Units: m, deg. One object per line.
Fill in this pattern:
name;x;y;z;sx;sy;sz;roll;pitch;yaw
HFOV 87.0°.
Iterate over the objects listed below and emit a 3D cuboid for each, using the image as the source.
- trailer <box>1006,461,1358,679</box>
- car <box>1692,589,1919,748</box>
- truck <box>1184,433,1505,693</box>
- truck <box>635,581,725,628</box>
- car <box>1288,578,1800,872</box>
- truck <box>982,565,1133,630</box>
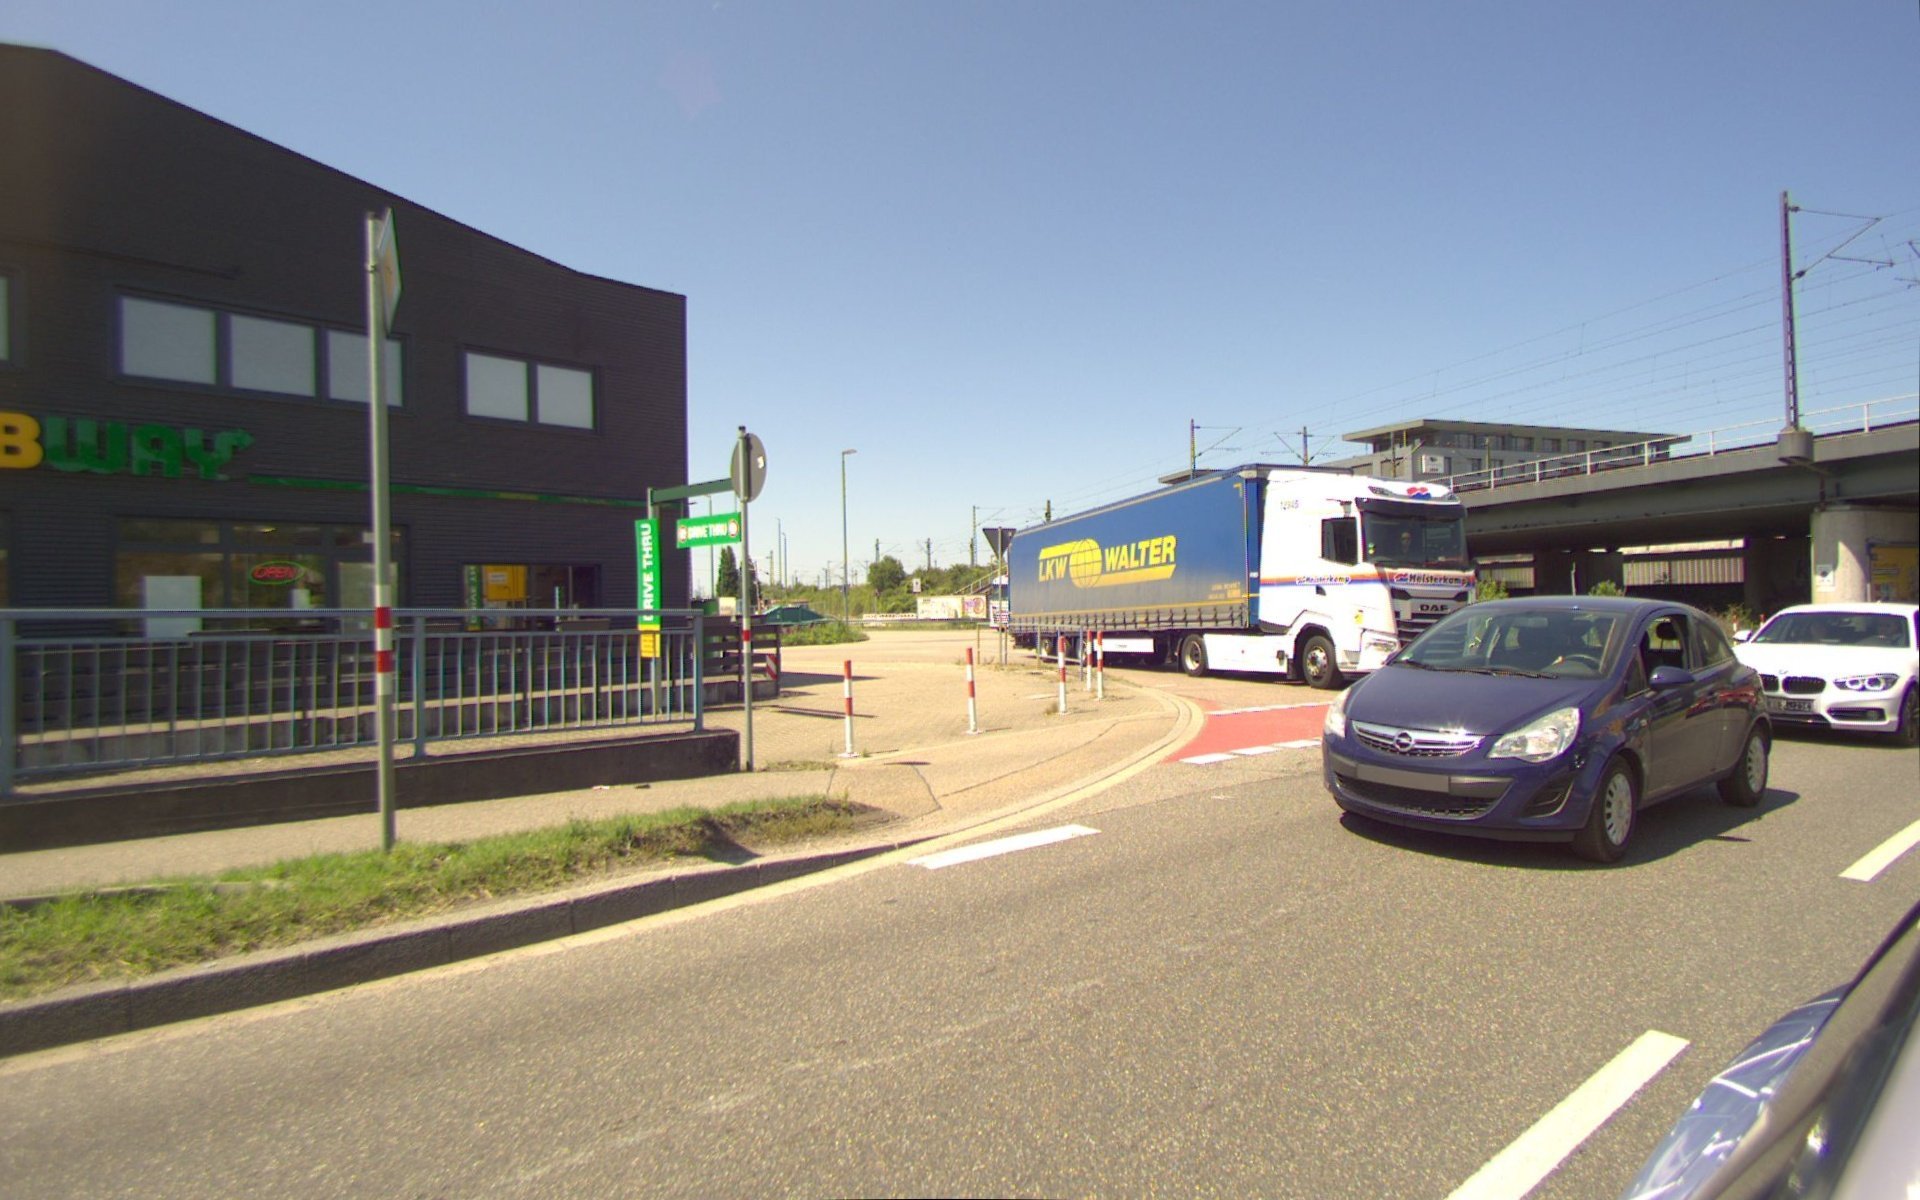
trailer;4.651;-0.506;26.274;2.447;4.142;13.932;0;-1;-16
car;10.110;0.639;11.420;3.975;1.461;1.764;0;2;-35
truck;6.983;-0.625;19.320;2.522;4.153;5.774;0;0;-21
truck;-21.151;0.283;76.965;2.768;3.411;7.508;0;0;20
car;4.075;0.629;6.851;3.818;1.462;1.651;1;0;-37
truck;7.439;-0.235;72.349;2.735;4.155;17.223;0;0;35
